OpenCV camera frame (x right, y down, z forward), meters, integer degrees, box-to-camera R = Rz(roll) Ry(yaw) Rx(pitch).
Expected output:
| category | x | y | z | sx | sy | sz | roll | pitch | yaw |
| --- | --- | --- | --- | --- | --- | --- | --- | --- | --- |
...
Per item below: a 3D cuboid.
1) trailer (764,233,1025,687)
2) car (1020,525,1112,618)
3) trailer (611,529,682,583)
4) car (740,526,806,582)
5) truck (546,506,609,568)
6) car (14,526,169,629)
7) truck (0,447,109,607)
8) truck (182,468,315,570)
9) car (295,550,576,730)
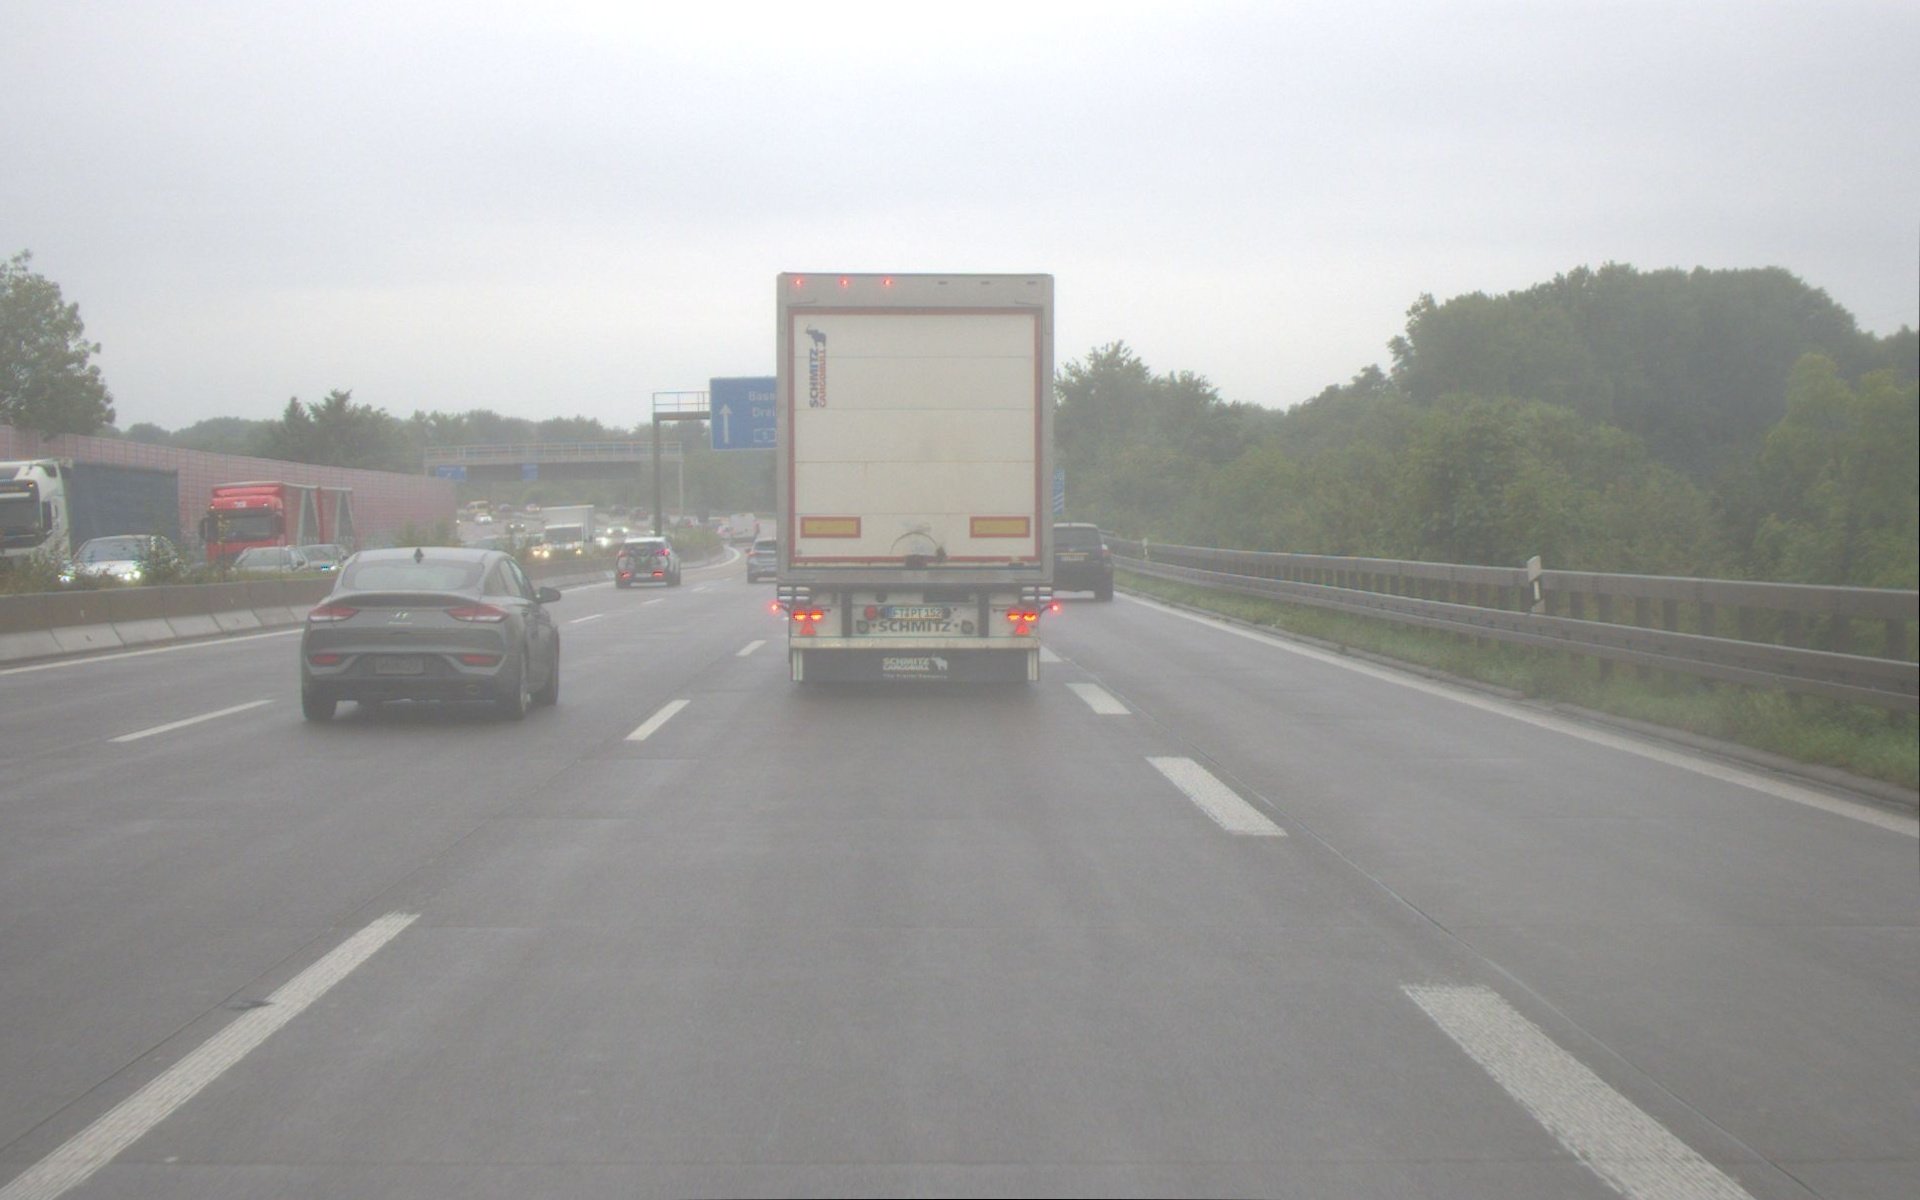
| category | x | y | z | sx | sy | sz | roll | pitch | yaw |
| --- | --- | --- | --- | --- | --- | --- | --- | --- | --- |
| trailer | -0.681 | -1.544 | 39.056 | 2.342 | 4.143 | 14.829 | 1 | 2 | -1 |
| car | 2.295 | -0.642 | 75.341 | 1.897 | 1.943 | 4.000 | 1 | 1 | 1 |
| trailer | -9.734 | -1.392 | 106.948 | 1.815 | 1.619 | 4.568 | 0 | 1 | -1 |
| car | -5.945 | -1.490 | 109.696 | 1.894 | 1.717 | 4.000 | 1 | 1 | -1 |
| truck | -17.915 | -2.954 | 161.146 | 2.266 | 2.819 | 7.280 | 1 | 1 | -1 |
| car | -17.409 | -0.486 | 69.143 | 1.993 | 2.007 | 4.792 | 0 | 1 | -1 |
| truck | -24.450 | -1.924 | 89.699 | 3.046 | 4.014 | 6.052 | 1 | 1 | -1 |
| truck | -25.428 | -2.902 | 123.339 | 2.780 | 3.478 | 10.619 | 0 | 1 | -1 |
| car | -4.393 | 0.278 | 29.435 | 1.725 | 1.398 | 4.829 | 0 | 1 | -1 |
